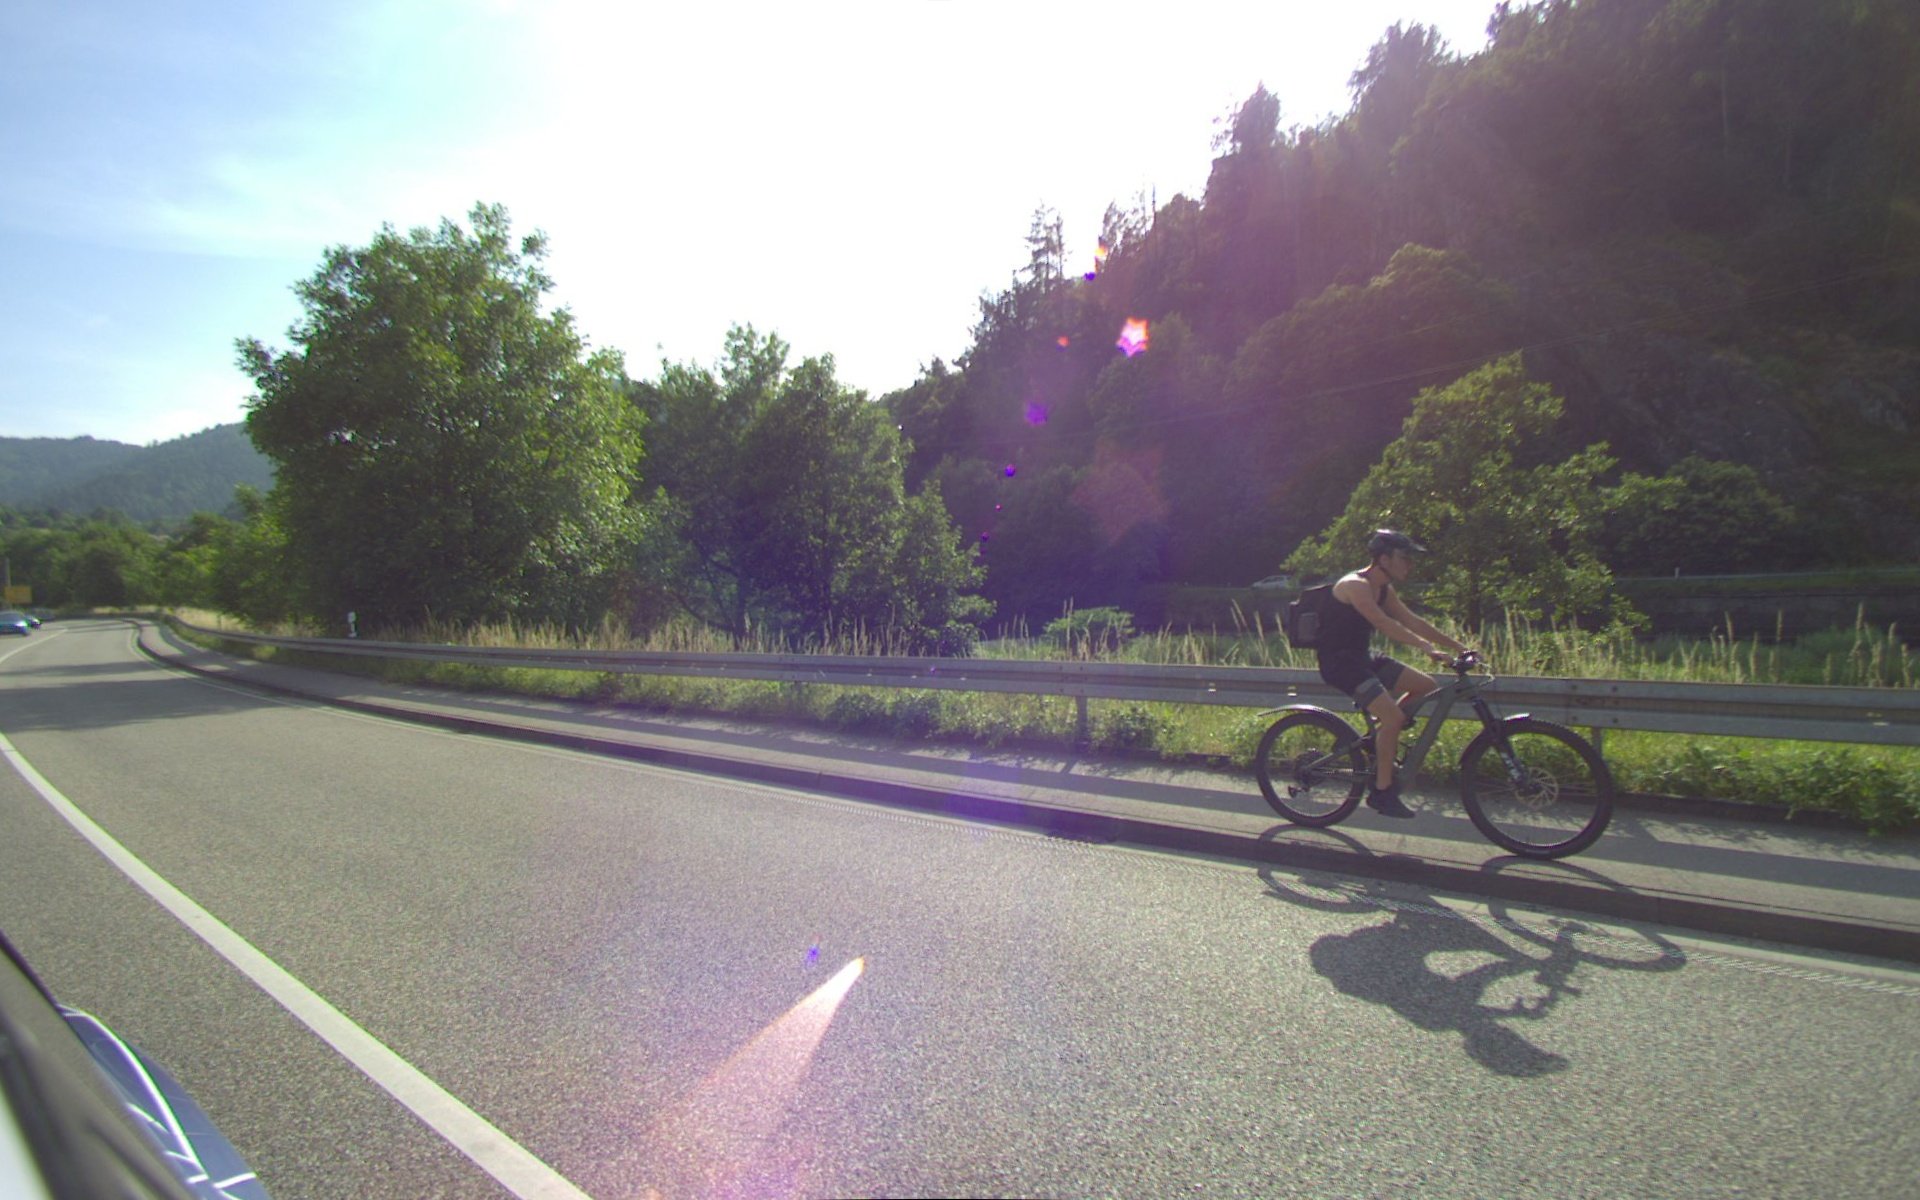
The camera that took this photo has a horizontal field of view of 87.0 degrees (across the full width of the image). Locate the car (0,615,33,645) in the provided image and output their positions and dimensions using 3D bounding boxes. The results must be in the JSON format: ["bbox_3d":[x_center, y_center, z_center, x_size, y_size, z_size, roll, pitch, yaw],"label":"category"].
[{"bbox_3d":[-58.428,1.823,62.083,1.856,1.758,4.187,0,-1,-37],"label":"car"}]

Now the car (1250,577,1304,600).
[{"bbox_3d":[26.958,-0.991,86.124,4.002,1.745,1.850,-1,4,45],"label":"car"}]

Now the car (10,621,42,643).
[{"bbox_3d":[-79.222,2.713,85.790,1.859,1.758,4.181,0,-1,-45],"label":"car"}]

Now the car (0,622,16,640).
[{"bbox_3d":[-92.829,3.028,98.025,4.180,1.758,1.859,-2,-1,44],"label":"car"}]

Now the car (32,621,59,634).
[{"bbox_3d":[-101.665,3.053,112.438,3.994,1.490,1.563,-1,-1,38],"label":"car"}]

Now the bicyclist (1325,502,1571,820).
[{"bbox_3d":[2.704,0.308,5.642,1.036,1.598,0.551,-3,2,44],"label":"bicyclist"}]

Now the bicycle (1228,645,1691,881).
[{"bbox_3d":[2.688,0.809,5.699,2.229,1.053,0.551,-3,2,44],"label":"bicycle"}]
